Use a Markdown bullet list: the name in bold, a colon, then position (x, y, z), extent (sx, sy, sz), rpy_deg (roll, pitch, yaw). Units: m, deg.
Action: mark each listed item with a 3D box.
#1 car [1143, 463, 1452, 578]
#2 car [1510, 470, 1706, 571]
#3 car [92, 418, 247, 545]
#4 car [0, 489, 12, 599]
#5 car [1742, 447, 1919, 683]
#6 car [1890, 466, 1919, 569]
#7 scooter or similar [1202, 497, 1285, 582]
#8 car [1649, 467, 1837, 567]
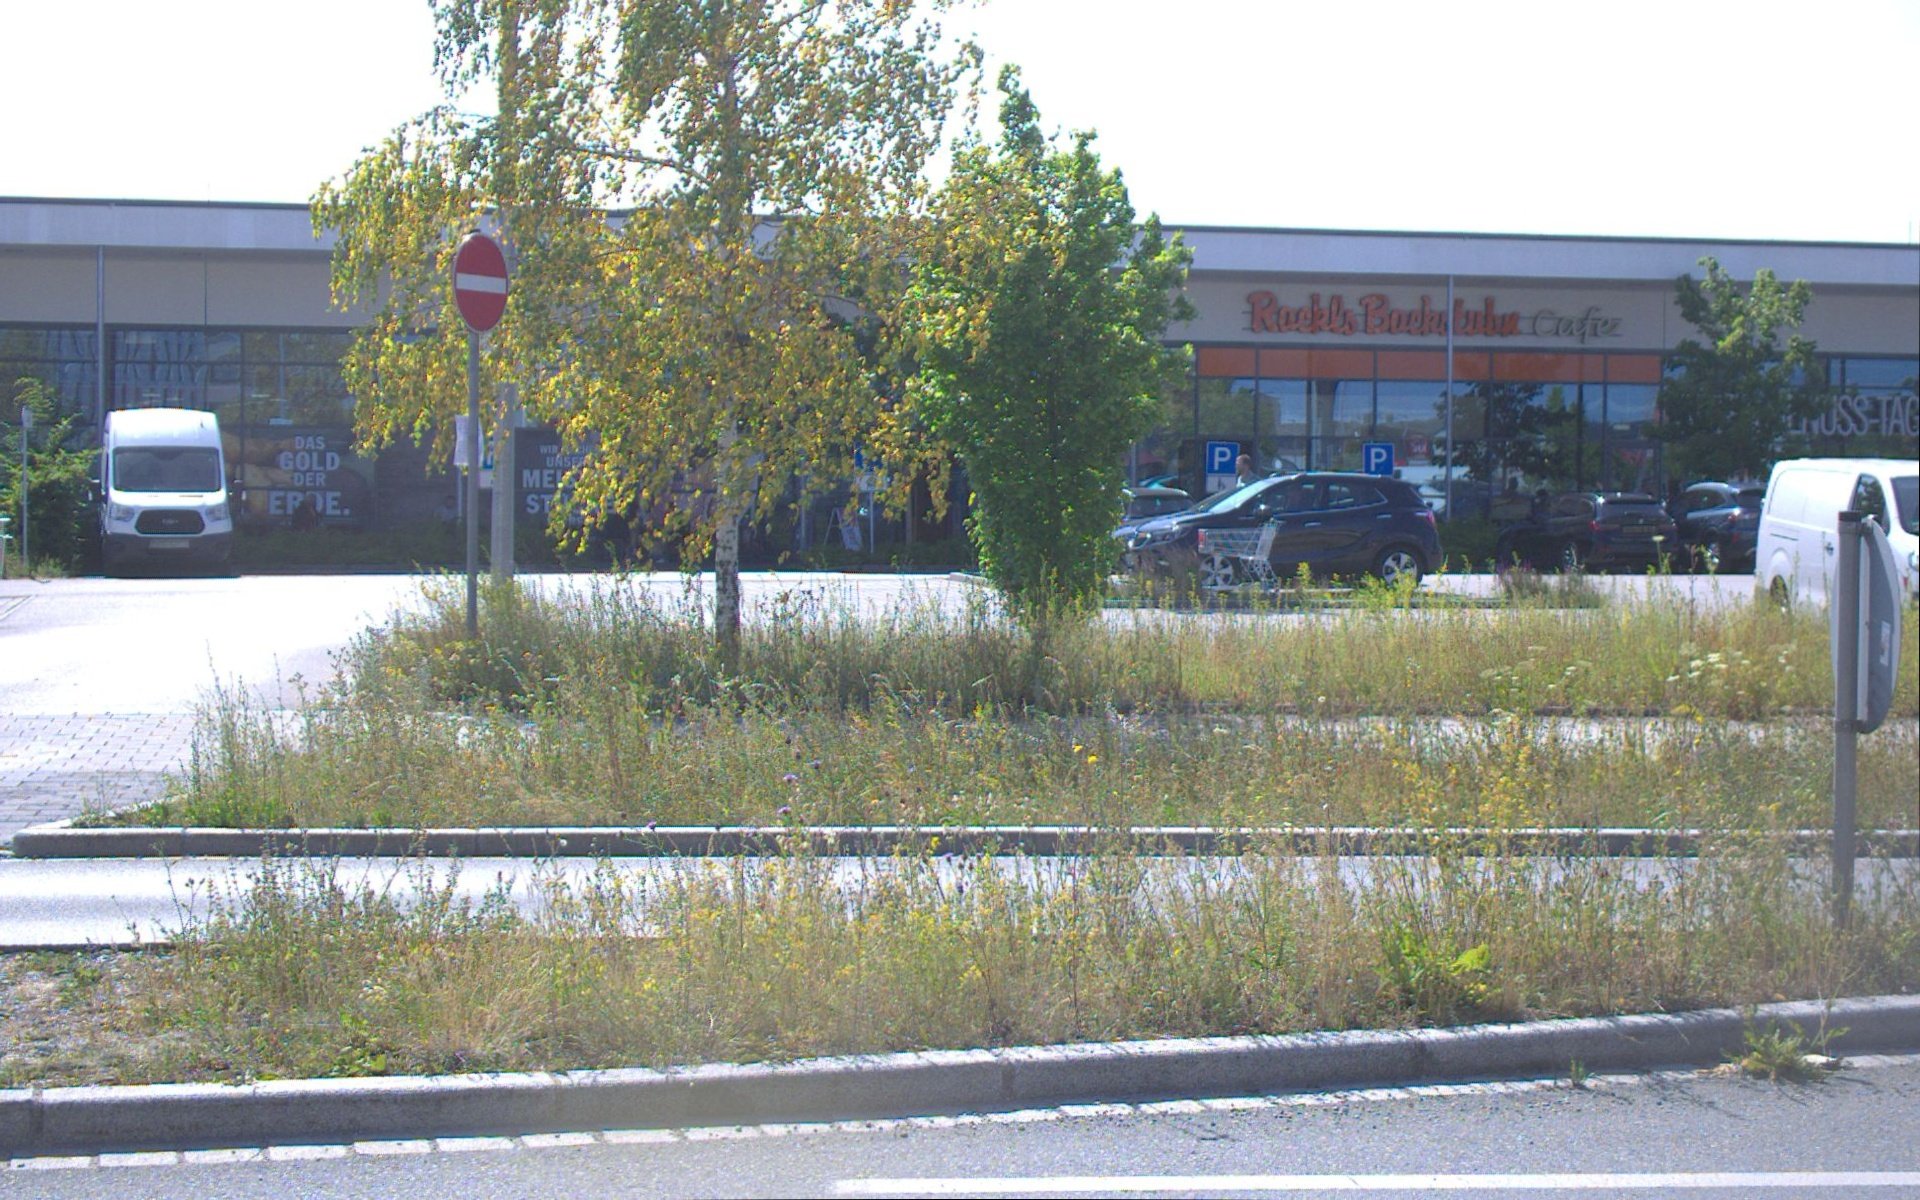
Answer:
- **car**: position (4.531, -1.083, 46.350), extent (3.792, 1.503, 1.732), rpy_deg (0, 2, -11)
- **car**: position (11.520, -1.443, 61.408), extent (1.993, 1.701, 4.002), rpy_deg (0, 2, -12)
- **car**: position (-13.151, -1.979, 56.917), extent (2.222, 1.970, 6.699), rpy_deg (0, 2, -15)
- **car**: position (-14.378, -0.773, 44.855), extent (3.831, 1.418, 1.773), rpy_deg (1, 2, -15)
- **car**: position (9.060, -0.387, 31.912), extent (2.080, 2.006, 5.230), rpy_deg (1, 2, -4)
- **car**: position (18.036, -1.345, 57.329), extent (4.470, 1.700, 1.875), rpy_deg (1, 2, -8)
- **scooter or similar**: position (3.667, -0.791, 44.498), extent (0.943, 1.075, 0.652), rpy_deg (0, 2, -7)
- **car**: position (14.107, -1.527, 62.168), extent (1.993, 1.701, 4.001), rpy_deg (0, 2, -8)
